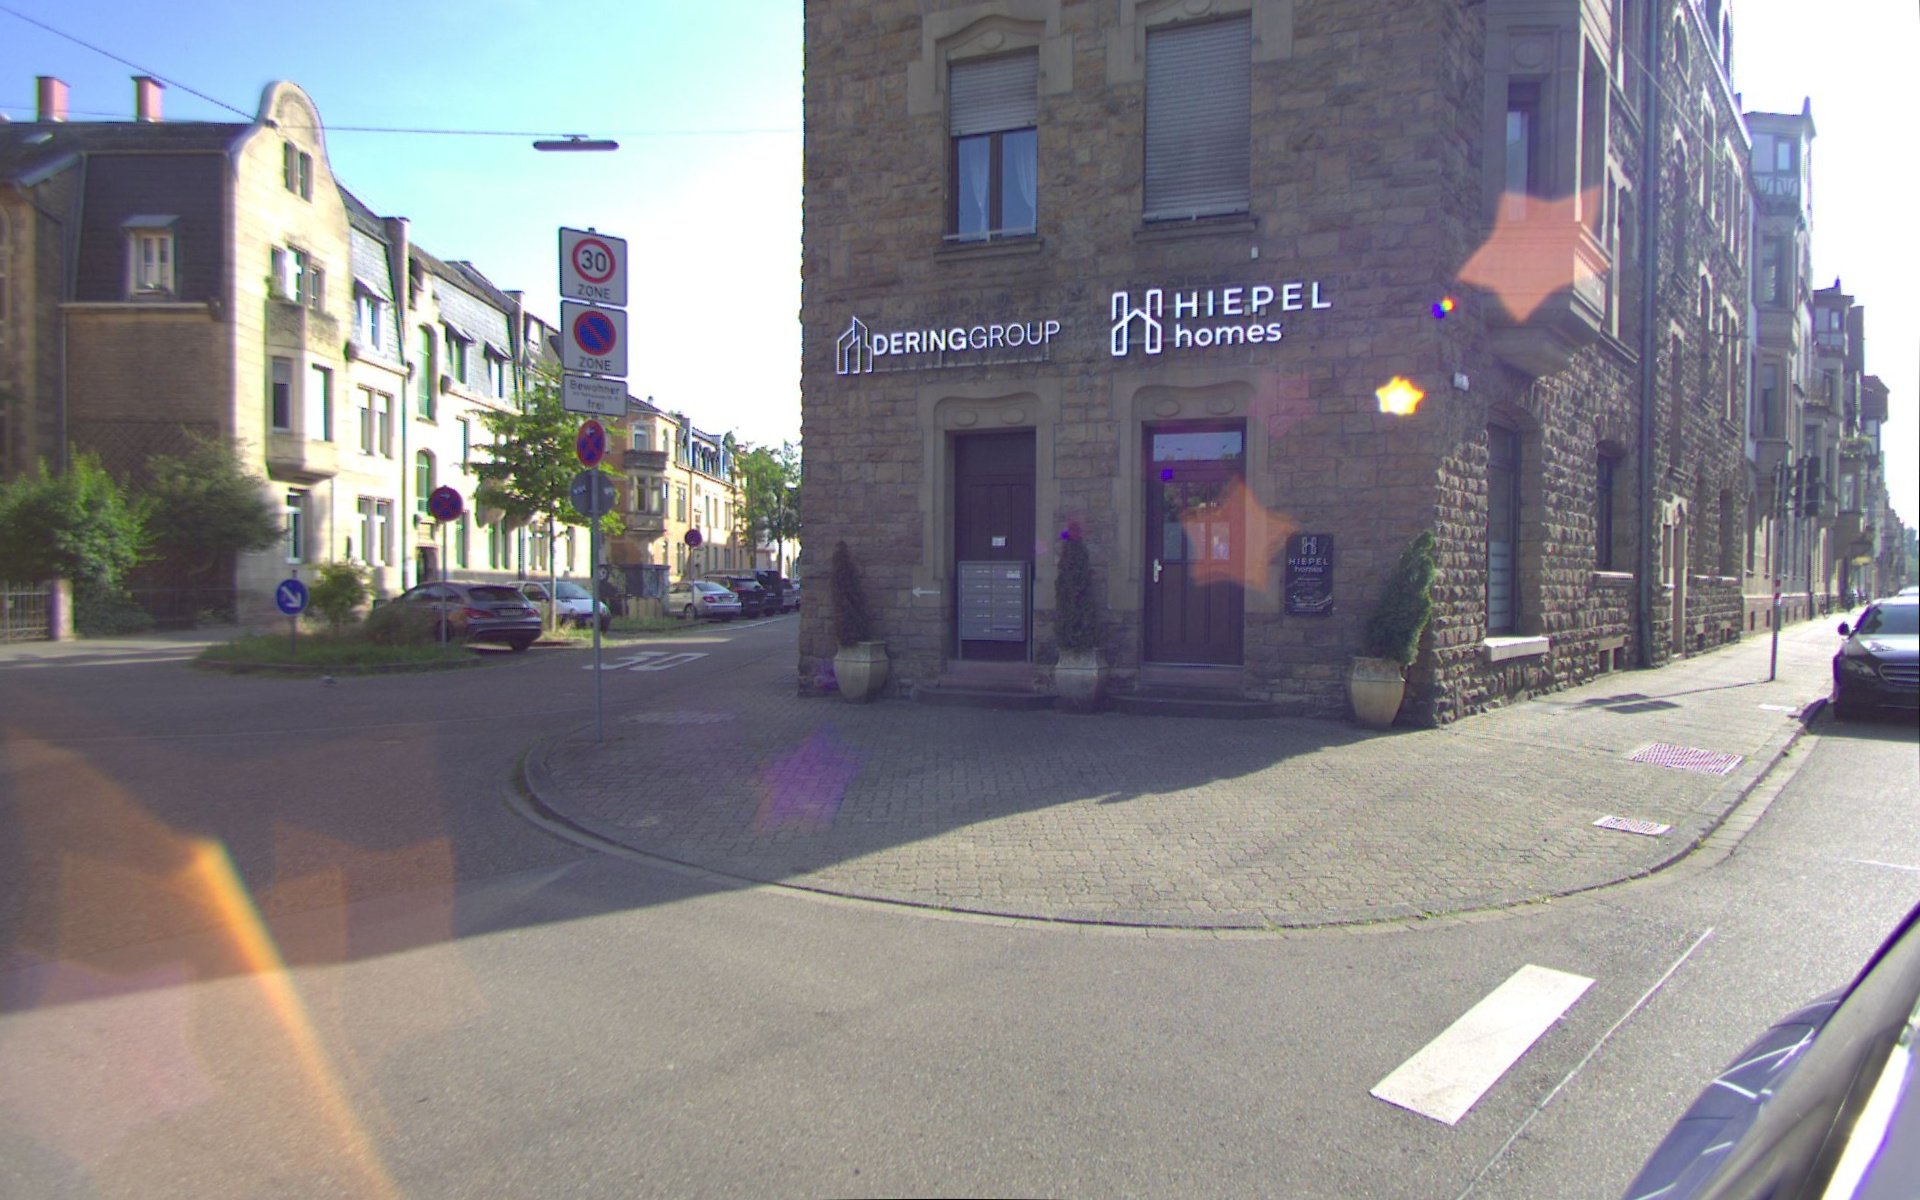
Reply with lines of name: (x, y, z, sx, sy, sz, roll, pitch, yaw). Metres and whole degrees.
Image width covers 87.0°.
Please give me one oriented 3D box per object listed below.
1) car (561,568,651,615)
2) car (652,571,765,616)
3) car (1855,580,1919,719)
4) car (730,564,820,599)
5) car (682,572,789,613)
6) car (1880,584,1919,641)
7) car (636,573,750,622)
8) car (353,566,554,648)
car: (-13.453, -0.327, 38.701, 1.963, 1.672, 3.998, 0, 0, 2)
car: (-9.686, -0.252, 38.995, 3.962, 1.672, 1.981, 0, 0, 28)
car: (12.283, 0.525, 12.428, 1.835, 1.522, 4.200, 0, 1, 43)
car: (-9.102, -0.888, 49.779, 3.950, 1.672, 1.987, 0, 0, 21)
car: (-9.409, -0.302, 42.455, 3.950, 1.672, 1.987, 0, 0, 21)
car: (26.814, 0.316, 27.918, 3.934, 1.499, 1.837, -1, 1, -44)
car: (-9.610, -0.109, 36.341, 3.976, 1.672, 1.974, 0, 0, 37)
car: (-10.624, 0.121, 21.125, 4.426, 1.533, 1.974, 0, 0, 36)
